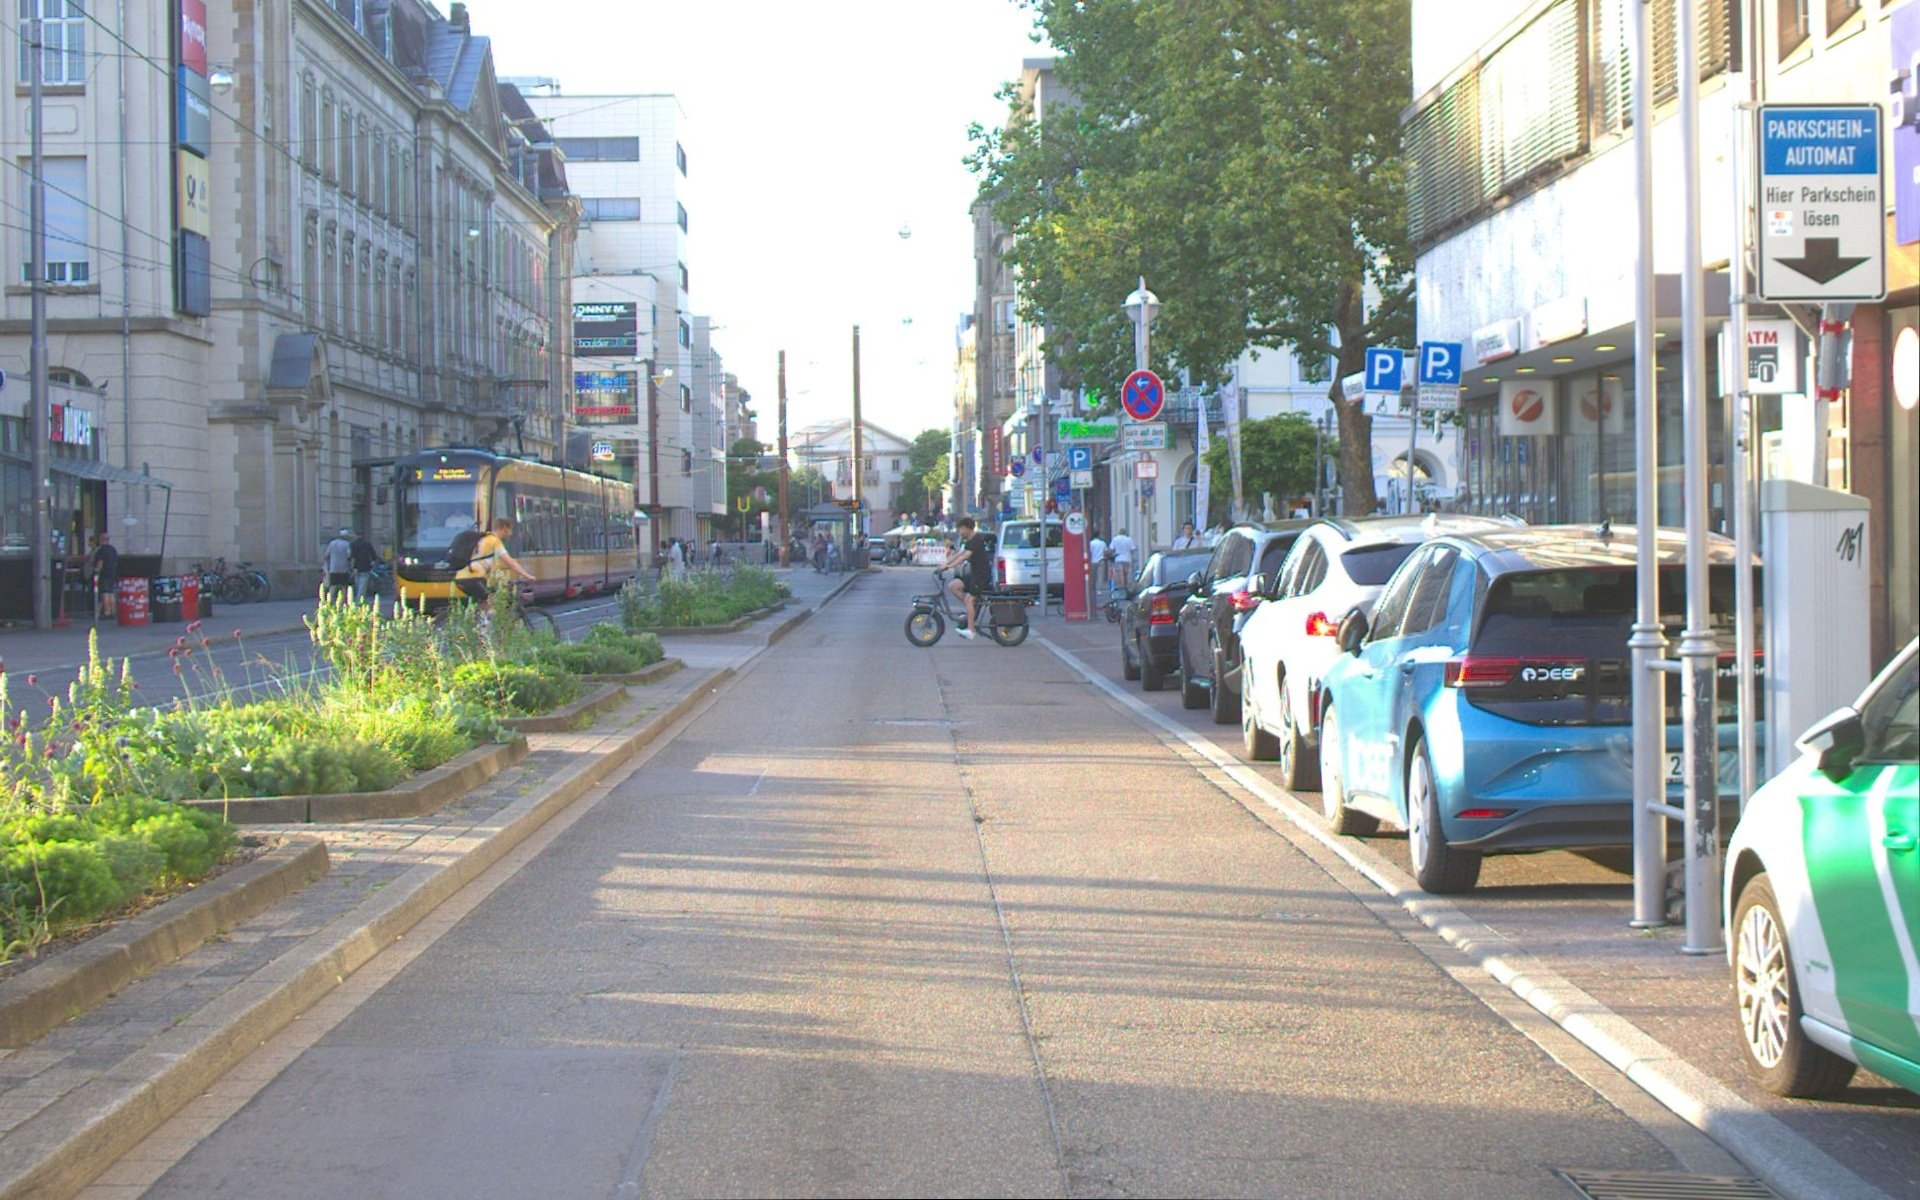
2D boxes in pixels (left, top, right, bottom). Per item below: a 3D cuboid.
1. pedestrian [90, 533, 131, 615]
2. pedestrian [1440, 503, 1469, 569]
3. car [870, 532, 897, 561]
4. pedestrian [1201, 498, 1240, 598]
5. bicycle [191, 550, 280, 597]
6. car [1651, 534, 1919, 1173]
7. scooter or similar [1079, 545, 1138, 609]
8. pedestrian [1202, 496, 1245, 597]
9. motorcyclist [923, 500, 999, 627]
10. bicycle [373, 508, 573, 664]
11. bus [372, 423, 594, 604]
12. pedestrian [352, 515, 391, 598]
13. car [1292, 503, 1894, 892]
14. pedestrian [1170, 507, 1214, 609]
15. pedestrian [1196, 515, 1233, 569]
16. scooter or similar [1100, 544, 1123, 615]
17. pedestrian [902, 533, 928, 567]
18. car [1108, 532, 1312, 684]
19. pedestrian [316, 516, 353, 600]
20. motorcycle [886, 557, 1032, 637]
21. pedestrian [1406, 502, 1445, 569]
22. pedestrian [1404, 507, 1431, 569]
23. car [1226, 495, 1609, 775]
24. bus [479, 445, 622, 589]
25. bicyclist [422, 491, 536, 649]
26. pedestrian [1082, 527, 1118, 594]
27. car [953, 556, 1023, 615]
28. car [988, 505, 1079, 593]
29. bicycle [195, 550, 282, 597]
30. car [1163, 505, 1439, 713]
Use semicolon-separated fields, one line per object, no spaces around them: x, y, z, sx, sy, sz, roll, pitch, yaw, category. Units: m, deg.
-17.135;-0.523;69.327;0.714;1.640;0.660;0;1;-23;pedestrian
9.748;-1.257;67.782;0.474;1.280;0.539;-1;-1;15;pedestrian
-5.150;-3.609;232.130;1.760;1.821;3.570;-1;-1;-1;car
4.523;-0.902;59.693;0.614;1.711;0.662;-1;-1;1;pedestrian
-18.012;-0.662;85.528;2.096;1.144;0.575;-1;-1;-5;bicycle
2.990;0.555;8.046;1.730;1.430;4.152;-1;0;-2;car
2.912;-0.452;67.476;1.125;1.212;0.300;-2;0;1;scooter or similar
4.520;-0.918;59.026;0.678;1.711;0.654;-1;-1;2;pedestrian
0.008;-0.516;49.481;1.001;1.807;0.960;-1;-1;-5;motorcyclist
-5.553;-0.178;39.312;2.362;1.734;0.602;-1;2;-44;bicycle
-10.599;-1.929;78.369;2.822;3.639;17.074;-1;1;-1;bus
-13.088;-0.956;76.445;0.733;1.834;0.715;-1;0;-1;pedestrian
2.783;0.345;16.250;1.809;1.546;4.837;-1;1;-2;car
4.151;-0.759;61.569;0.714;1.797;0.824;-1;0;2;pedestrian
6.287;-1.435;84.964;0.822;1.301;0.870;-1;-1;-1;pedestrian
2.654;-0.368;60.160;0.315;1.217;1.272;-1;1;6;scooter or similar
-2.568;-2.848;195.739;1.229;1.922;1.022;0;1;-17;pedestrian
2.532;0.036;35.724;1.655;1.375;4.341;-4;1;-1;car
-13.902;-0.939;76.456;0.693;1.841;0.662;-1;-1;-1;pedestrian
-0.014;-0.045;49.467;2.043;1.120;0.568;-1;-1;-5;motorcycle
9.014;-1.243;66.525;0.645;1.280;0.740;-1;-1;15;pedestrian
9.357;-1.267;70.287;0.474;1.237;0.539;-1;-1;14;pedestrian
2.785;0.149;21.911;1.816;1.580;4.723;0;1;0;car
-10.761;-2.220;91.069;2.822;3.612;8.290;-1;2;-1;bus
-5.496;-0.351;39.271;0.929;1.770;0.970;-1;1;-35;bicyclist
3.711;-1.041;91.126;0.786;1.745;0.895;-1;-1;-8;pedestrian
0.831;-0.453;105.455;1.993;1.755;4.421;-1;1;-1;car
1.694;-1.185;80.591;1.915;1.975;4.421;-1;1;-1;car
-18.087;-0.656;86.194;2.077;1.144;0.575;-1;-1;-5;bicycle
2.805;0.009;29.197;1.775;1.533;4.579;-1;2;-1;car
